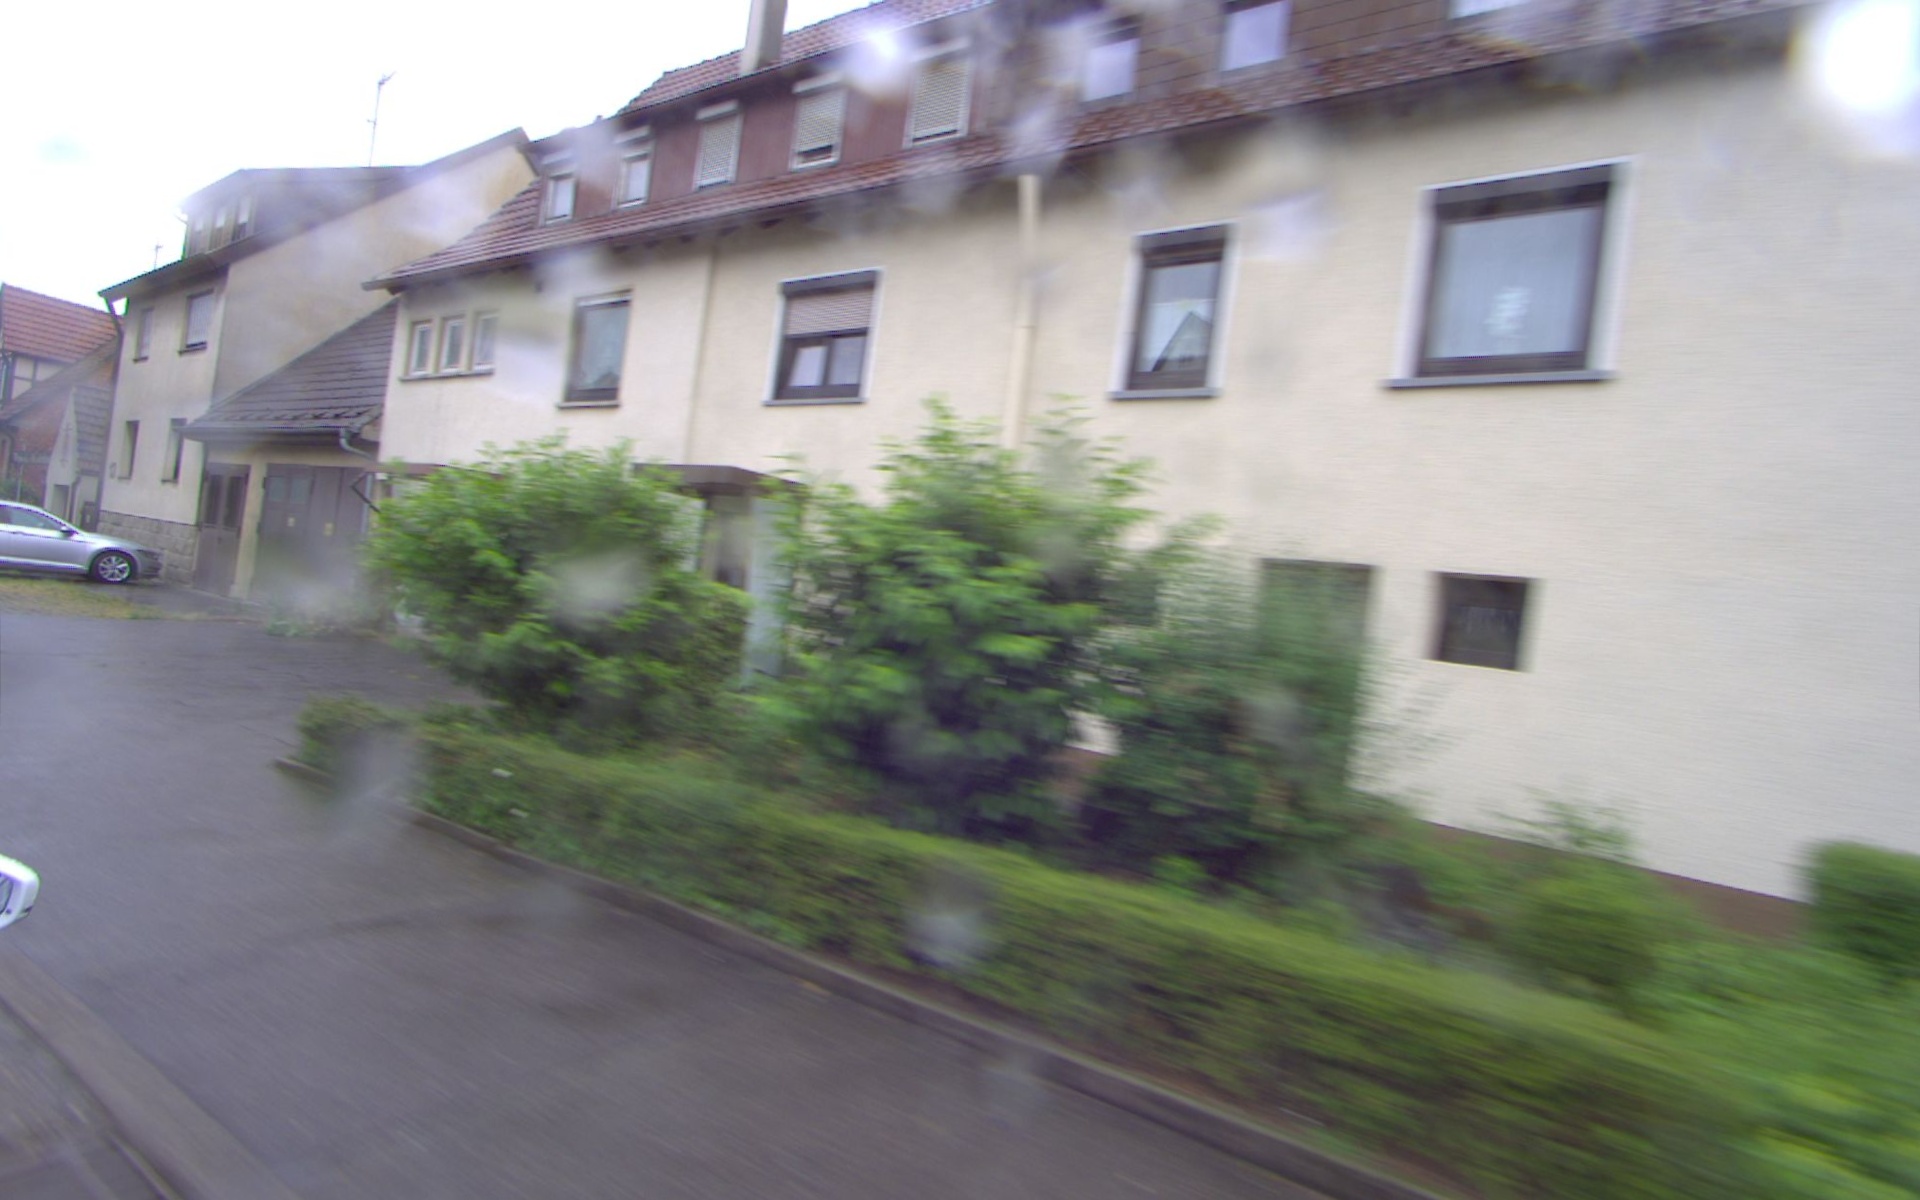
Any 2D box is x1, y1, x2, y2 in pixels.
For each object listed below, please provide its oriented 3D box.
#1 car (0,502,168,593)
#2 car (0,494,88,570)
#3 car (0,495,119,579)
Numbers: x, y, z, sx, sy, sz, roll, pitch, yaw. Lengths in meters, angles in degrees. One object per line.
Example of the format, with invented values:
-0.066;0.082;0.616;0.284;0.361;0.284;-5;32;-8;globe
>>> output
-18.420;-1.154;19.379;1.794;1.431;4.612;6;-2;38;car
-22.998;-1.724;23.184;1.720;1.602;3.992;5;-1;32;car
-20.600;-1.409;21.675;1.694;1.547;3.420;2;-4;36;car
